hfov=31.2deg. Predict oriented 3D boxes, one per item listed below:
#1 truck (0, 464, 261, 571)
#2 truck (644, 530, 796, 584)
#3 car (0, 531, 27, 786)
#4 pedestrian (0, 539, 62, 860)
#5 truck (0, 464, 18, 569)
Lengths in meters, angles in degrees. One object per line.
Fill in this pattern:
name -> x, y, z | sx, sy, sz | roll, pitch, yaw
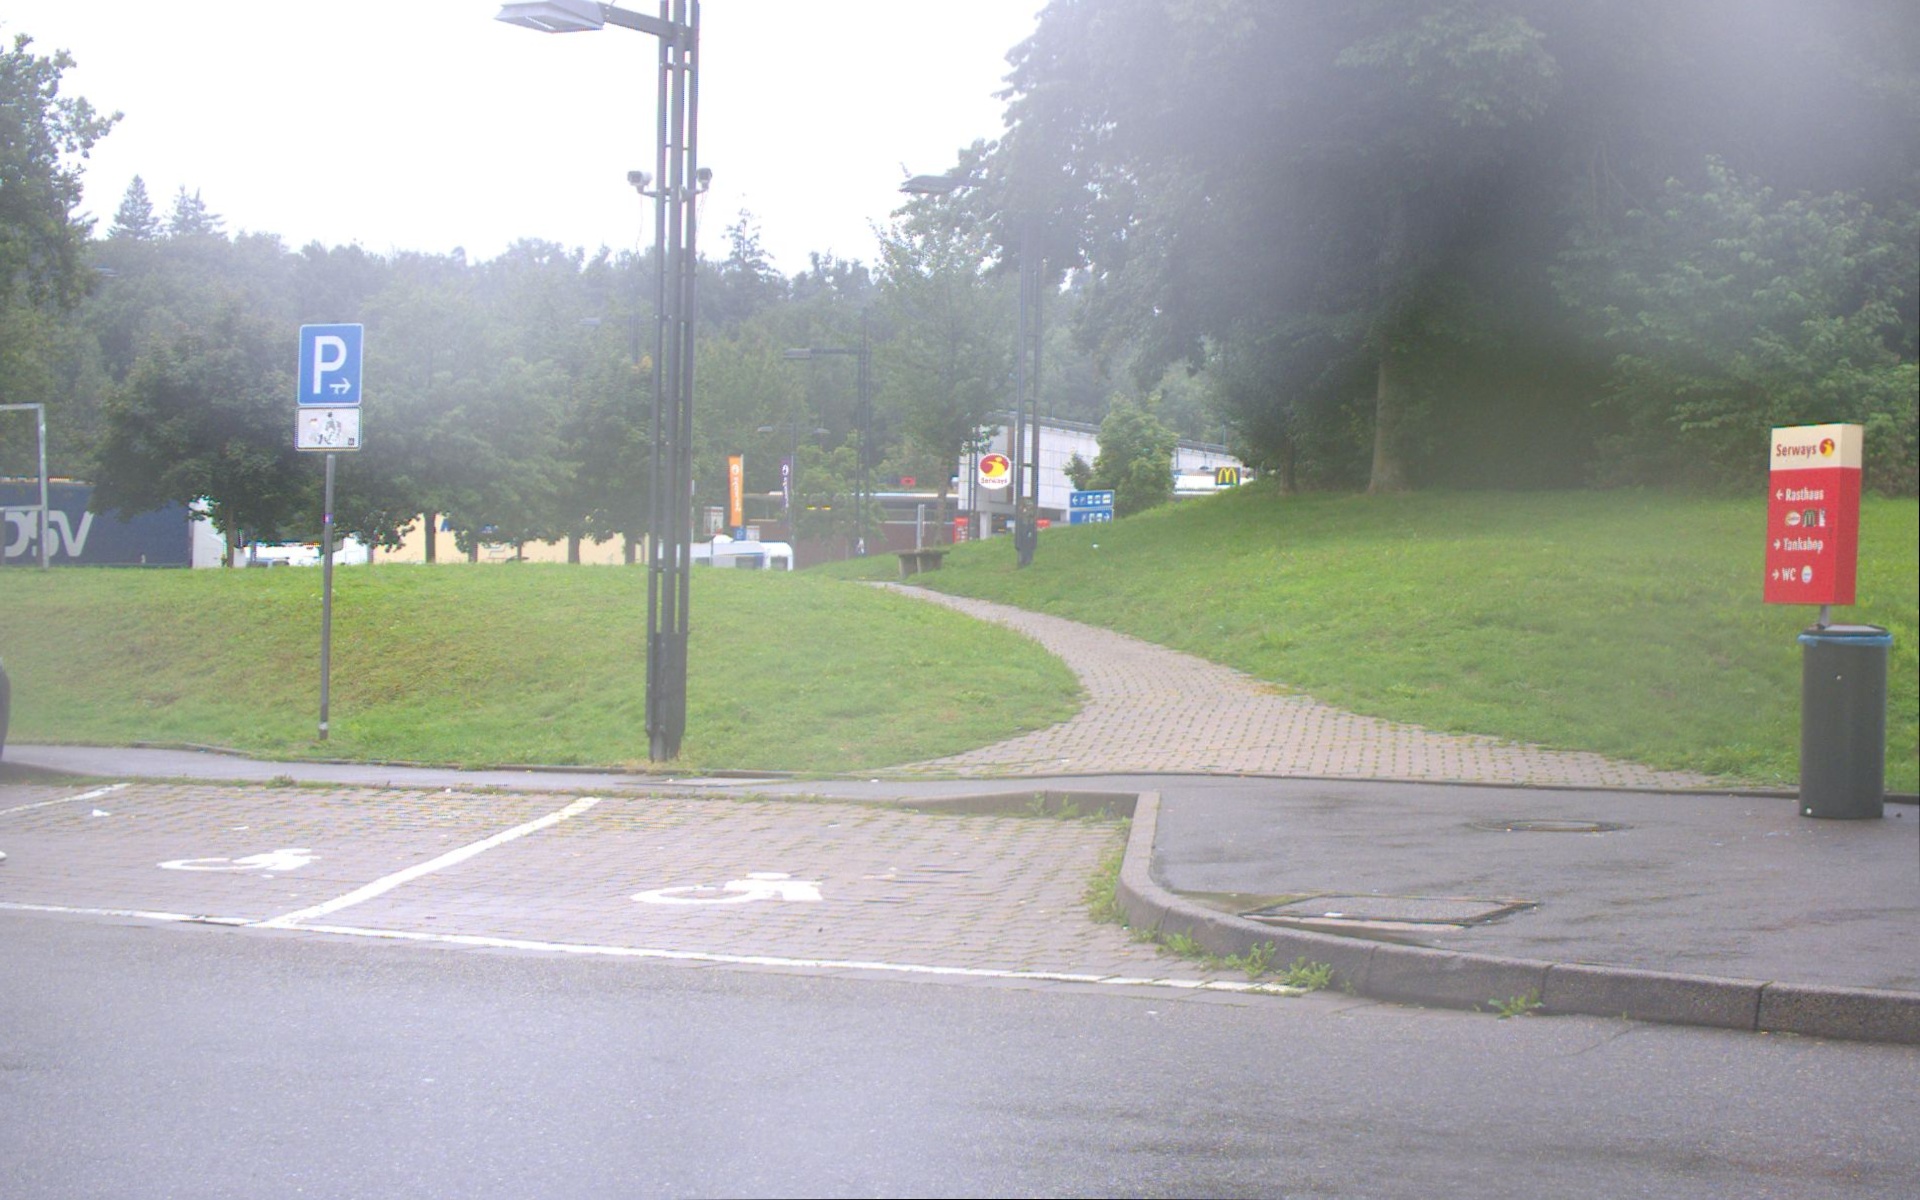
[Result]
truck -> -25.463, -2.368, 101.641 | 2.188, 2.910, 13.082 | 1, 1, 24
truck -> -9.325, -1.665, 133.819 | 5.413, 2.007, 2.364 | 1, 1, 25
car -> -7.801, 0.454, 21.504 | 2.018, 1.705, 4.341 | -1, 1, 12
pedestrian -> -5.252, 0.497, 17.731 | 0.952, 1.626, 0.703 | 1, 0, 17
truck -> -28.602, -2.343, 94.671 | 2.189, 2.910, 5.380 | 1, 1, 24
